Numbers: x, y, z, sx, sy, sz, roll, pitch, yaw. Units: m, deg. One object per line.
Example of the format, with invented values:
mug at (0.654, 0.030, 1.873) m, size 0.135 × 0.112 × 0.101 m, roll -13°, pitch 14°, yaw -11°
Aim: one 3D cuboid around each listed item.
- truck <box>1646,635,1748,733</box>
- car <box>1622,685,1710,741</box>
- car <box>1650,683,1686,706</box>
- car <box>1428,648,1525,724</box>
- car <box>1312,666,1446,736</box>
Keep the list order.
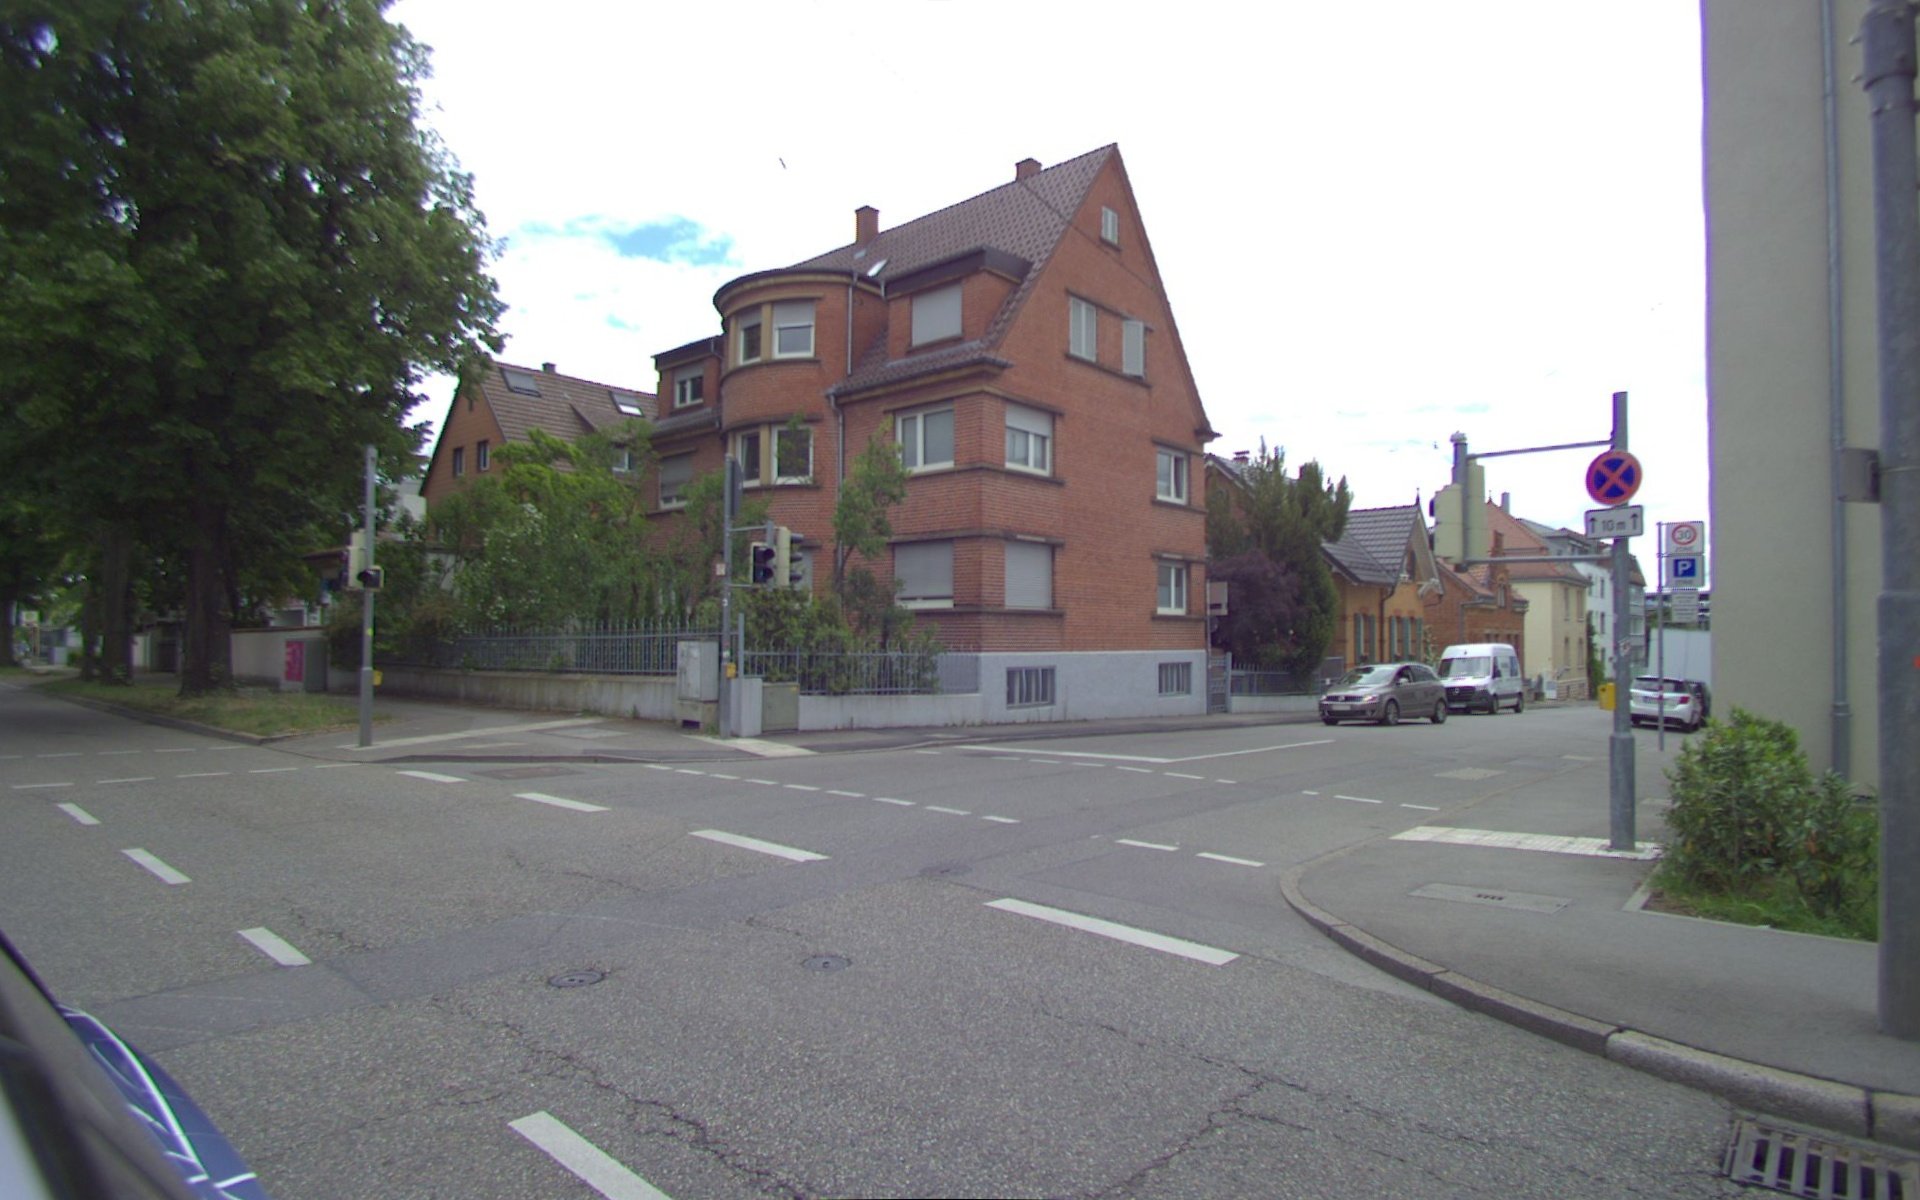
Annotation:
truck at (27.132, 3.051, 37.169) m, size 2.449 × 3.257 × 6.128 m, roll -1°, pitch -4°, yaw 41°
car at (20.316, 3.183, 29.064) m, size 1.747 × 1.433 × 3.947 m, roll -1°, pitch -4°, yaw 39°
car at (57.920, 7.723, 82.736) m, size 1.999 × 1.519 × 3.946 m, roll -2°, pitch -2°, yaw 40°
car at (18.998, 3.149, 37.060) m, size 2.037 × 2.529 × 5.914 m, roll -2°, pitch -5°, yaw 38°
car at (10.575, 2.532, 25.411) m, size 1.896 × 1.597 × 3.945 m, roll -5°, pitch -8°, yaw 41°
